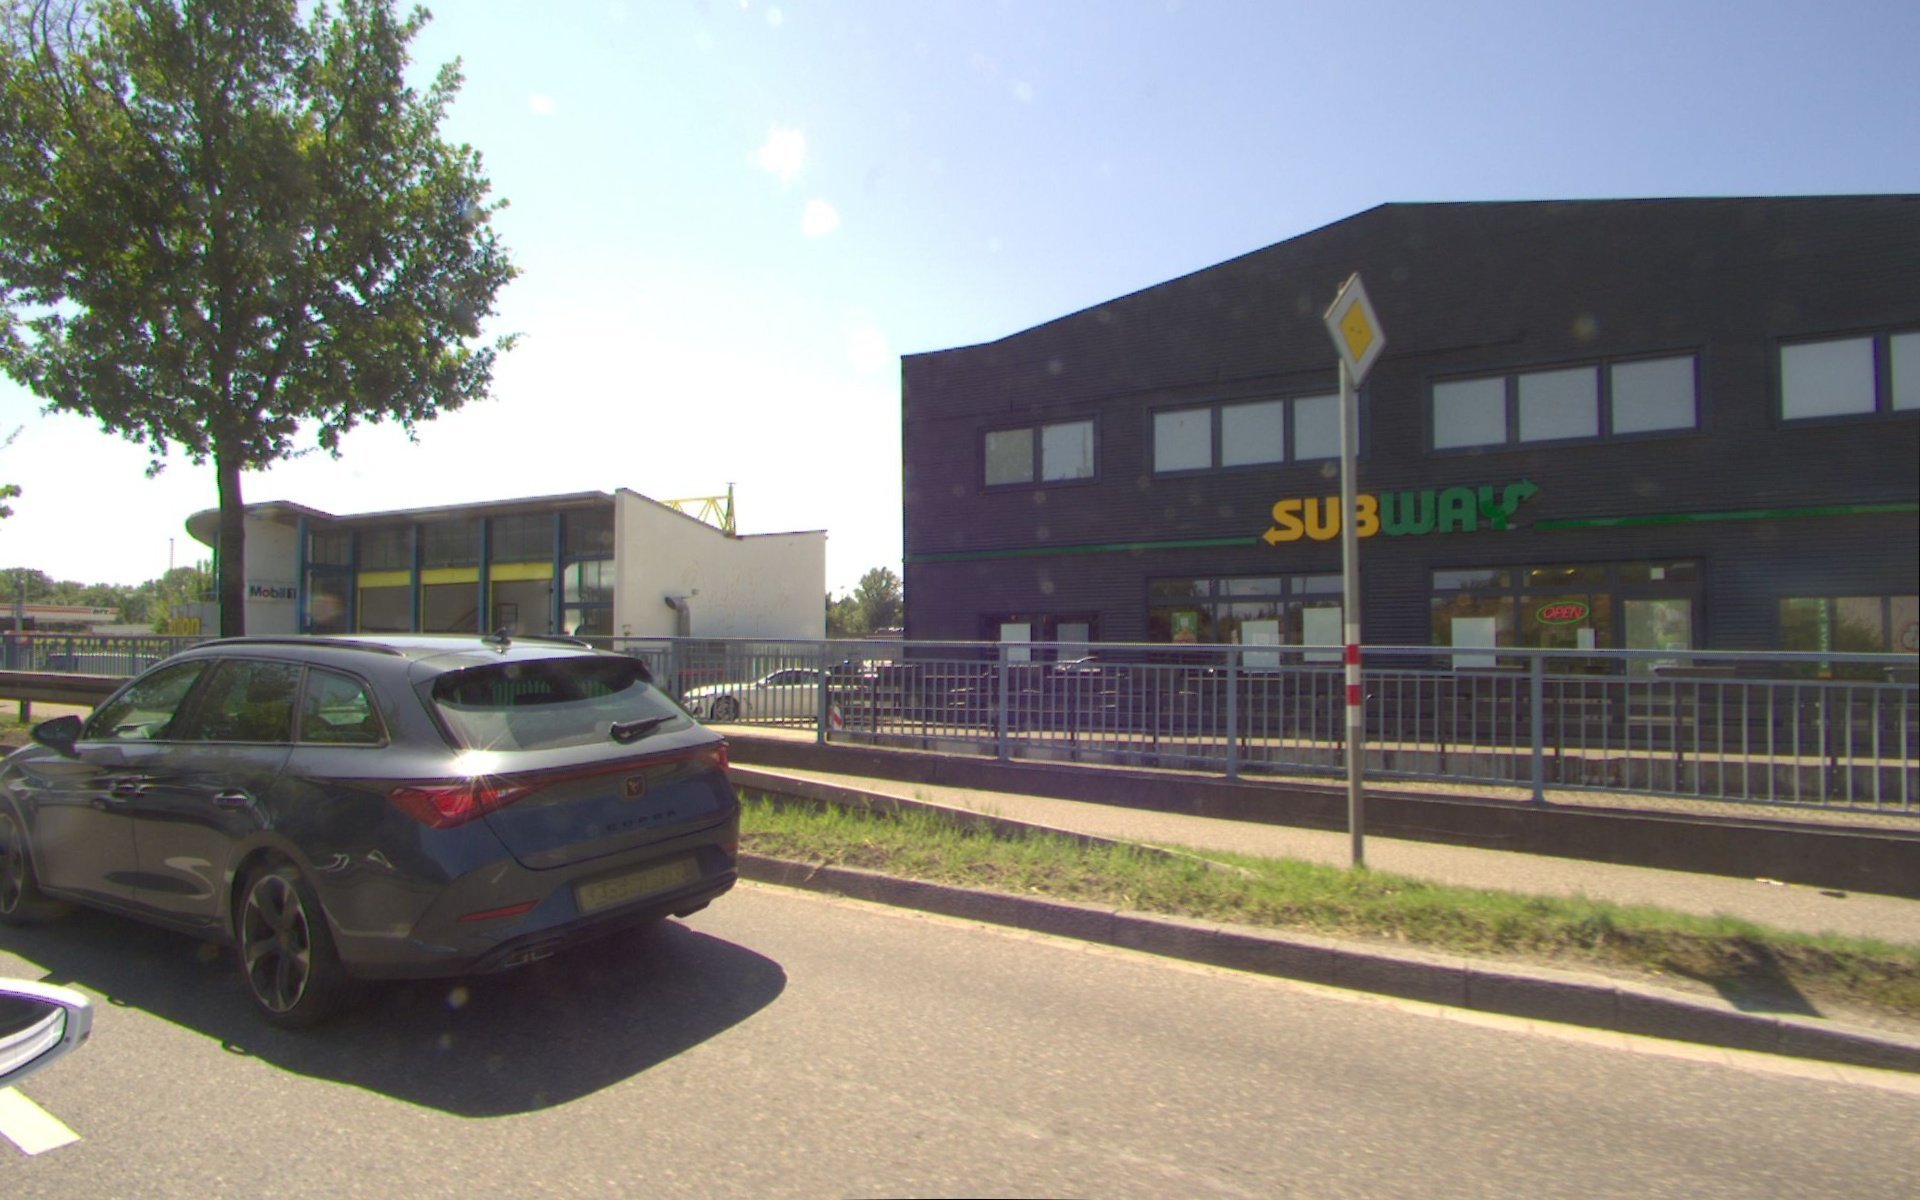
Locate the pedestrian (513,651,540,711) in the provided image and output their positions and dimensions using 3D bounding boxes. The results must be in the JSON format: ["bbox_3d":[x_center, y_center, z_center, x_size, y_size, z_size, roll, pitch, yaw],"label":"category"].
[{"bbox_3d":[-12.514,2.325,28.904,0.580,1.724,0.426,-1,-1,25],"label":"pedestrian"}]

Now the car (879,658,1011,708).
[{"bbox_3d":[-0.522,2.847,34.863,4.331,1.578,1.650,1,-2,-26],"label":"car"}]

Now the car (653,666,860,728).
[{"bbox_3d":[-5.295,2.481,26.204,5.004,1.375,1.993,1,-2,-26],"label":"car"}]

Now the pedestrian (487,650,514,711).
[{"bbox_3d":[-13.442,2.342,29.270,0.480,1.724,0.521,-1,-1,26],"label":"pedestrian"}]

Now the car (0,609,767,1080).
[{"bbox_3d":[-3.071,0.838,4.901,4.172,1.474,1.603,-1,-2,30],"label":"car"}]

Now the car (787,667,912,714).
[{"bbox_3d":[-3.346,2.702,30.149,3.550,1.269,1.477,1,-2,-17],"label":"car"}]
